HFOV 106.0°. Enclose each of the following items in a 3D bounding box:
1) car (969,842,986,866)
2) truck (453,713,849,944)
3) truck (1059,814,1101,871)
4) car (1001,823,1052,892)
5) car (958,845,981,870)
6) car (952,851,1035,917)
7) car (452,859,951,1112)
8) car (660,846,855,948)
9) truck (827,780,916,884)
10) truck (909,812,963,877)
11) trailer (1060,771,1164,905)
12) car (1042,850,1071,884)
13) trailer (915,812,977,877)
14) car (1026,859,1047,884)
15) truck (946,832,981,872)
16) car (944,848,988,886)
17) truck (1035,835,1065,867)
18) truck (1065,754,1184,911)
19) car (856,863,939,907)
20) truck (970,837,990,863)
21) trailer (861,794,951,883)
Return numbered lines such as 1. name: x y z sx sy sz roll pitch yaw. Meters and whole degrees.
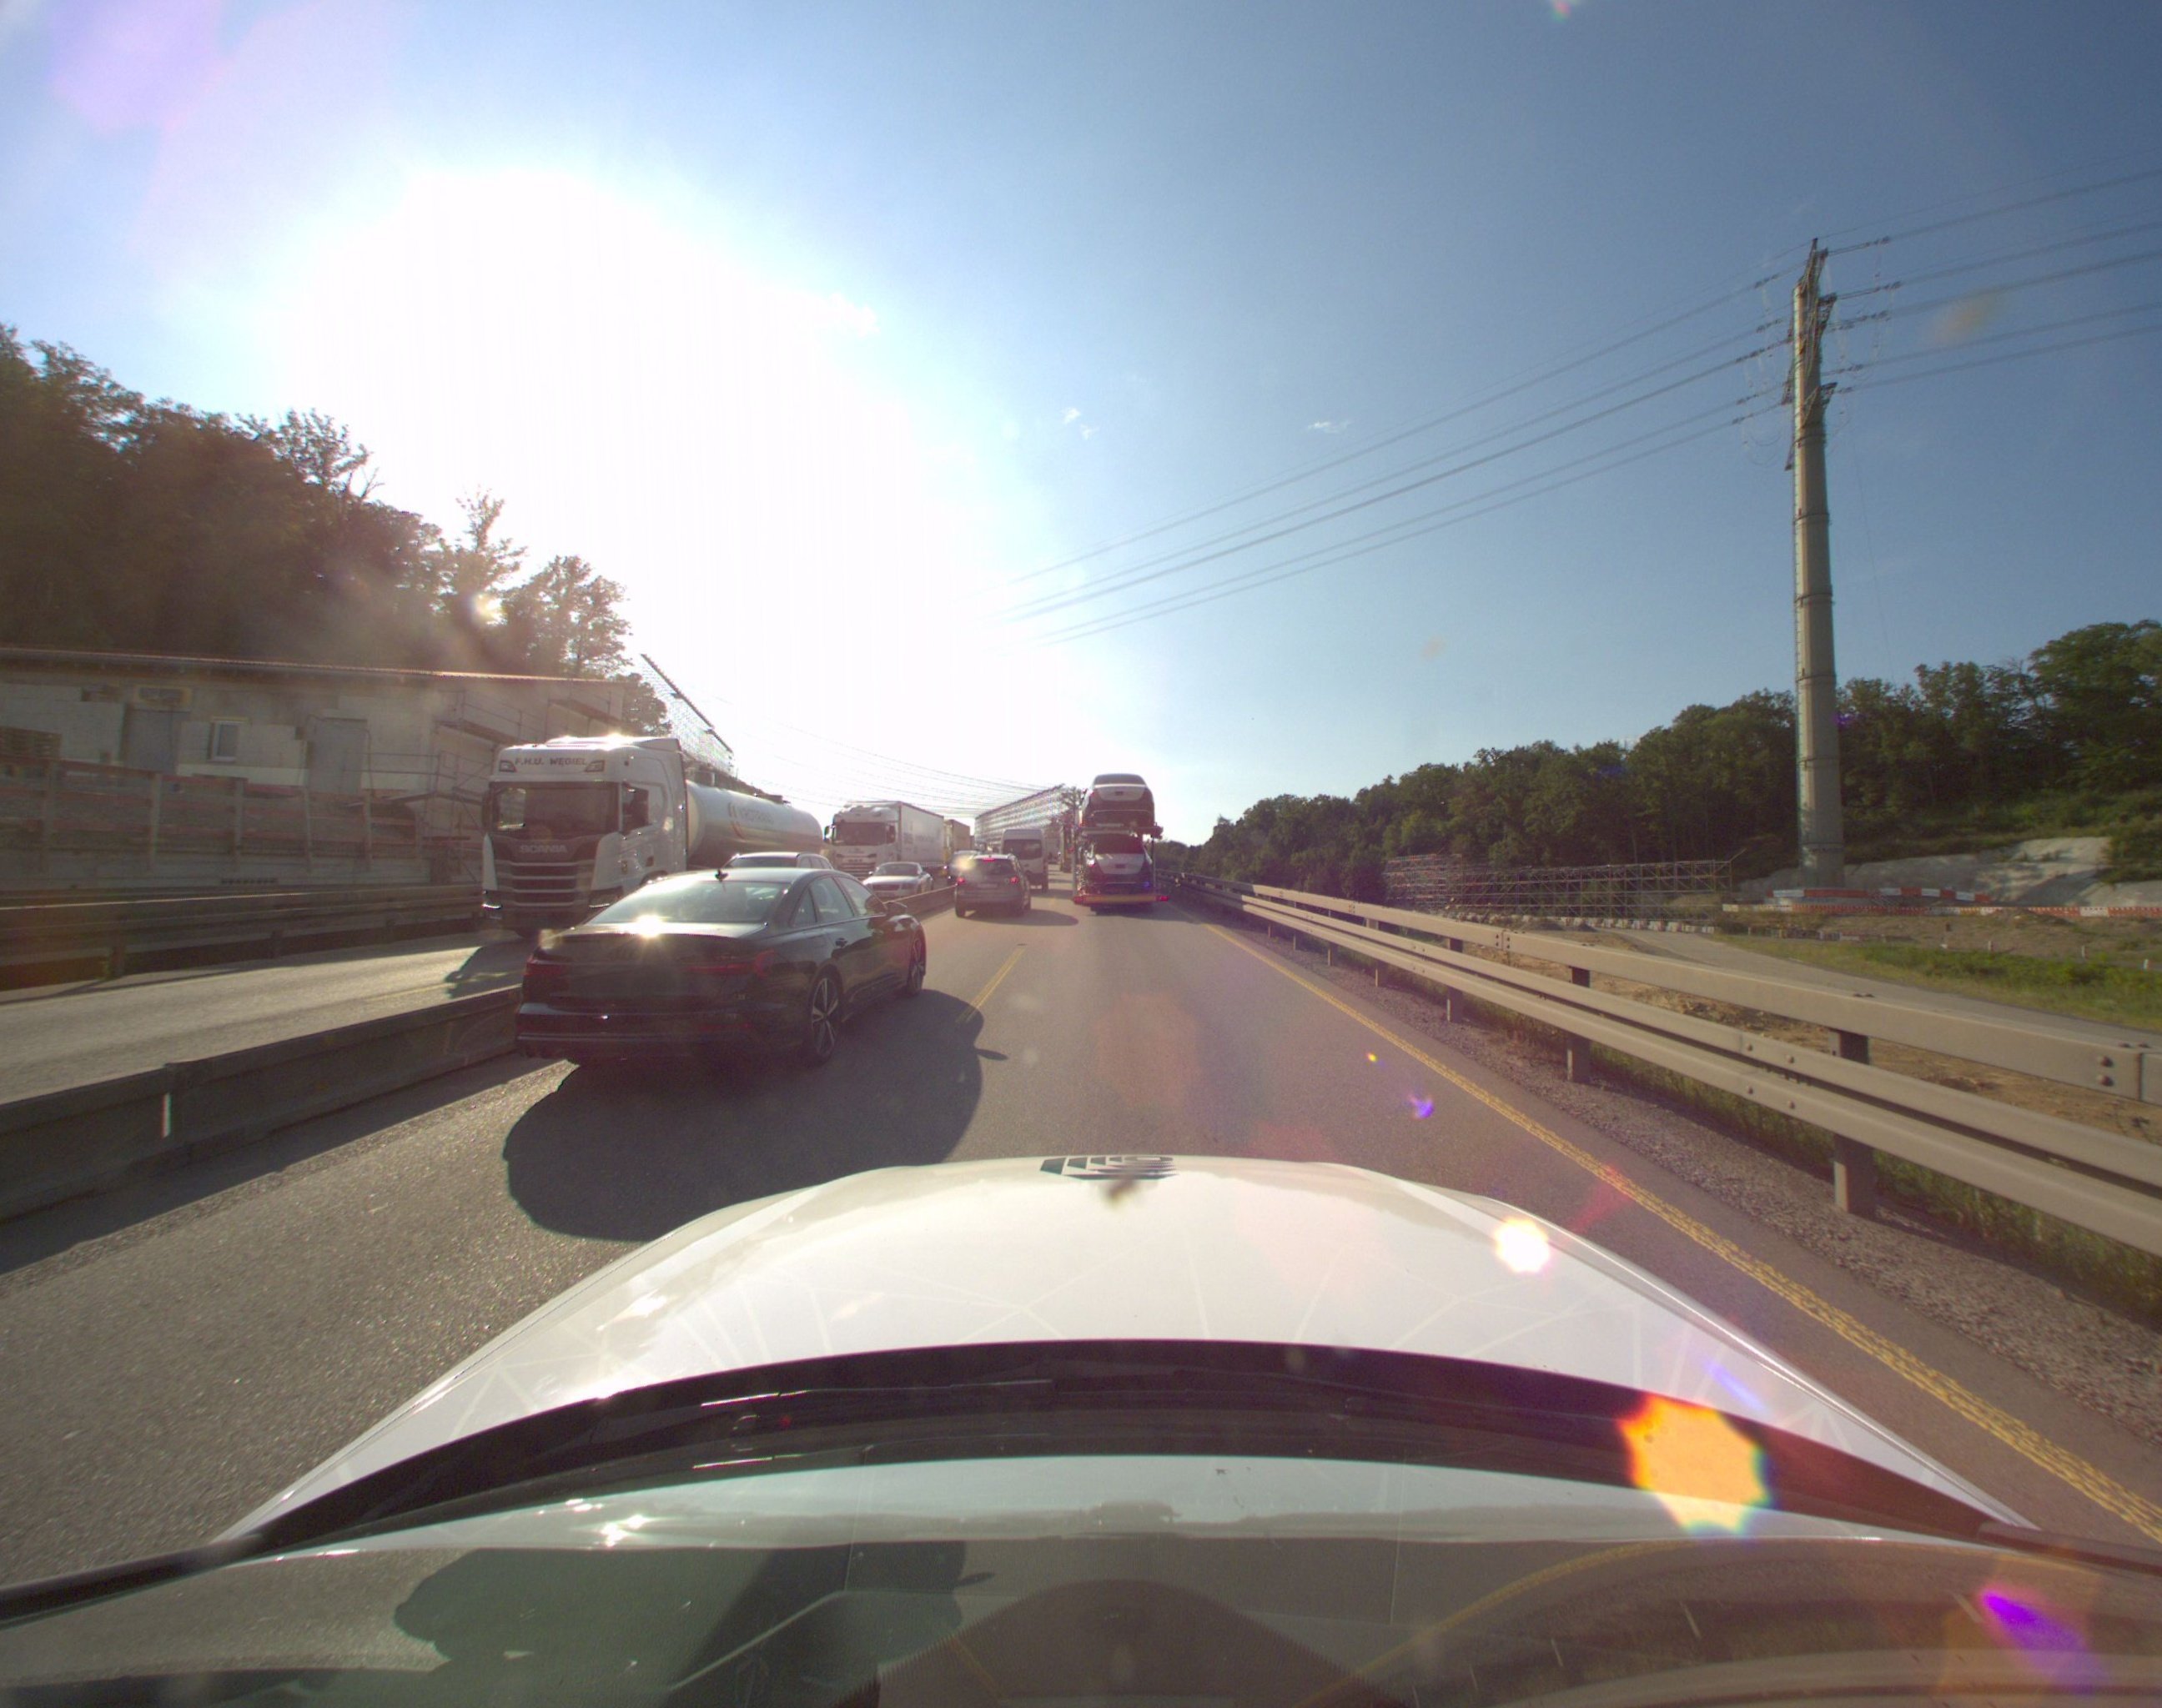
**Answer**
1. car: -12.786 -0.004 100.485 1.665 2.765 4.953 -1 0 -3
2. truck: -9.354 -0.447 20.935 2.800 3.970 13.891 0 0 0
3. truck: -0.222 -0.988 72.720 3.220 4.677 11.683 -1 0 -3
4. car: -2.252 0.196 34.328 1.974 2.684 4.142 -1 -1 -3
5. car: -12.692 0.438 92.826 2.123 2.750 5.498 -1 -1 -3
6. car: -2.270 0.778 22.065 1.695 1.587 4.147 -1 -1 1
7. car: -2.734 0.840 7.544 1.932 1.480 5.225 -2 -1 3
8. car: -6.039 0.763 15.889 1.839 1.648 4.561 -2 -1 1
9. truck: -9.385 -0.800 37.097 2.436 4.272 6.318 -1 -2 -1
10. truck: -9.962 -0.567 56.431 2.886 4.272 5.765 -1 -1 -3
11. trailer: 0.735 -0.301 32.146 2.868 3.994 15.263 -1 -1 -2
12. car: -1.529 0.793 50.388 1.665 1.985 3.813 -1 -1 -4
13. trailer: -10.232 -0.499 63.320 2.886 4.394 14.364 -1 -1 -2
14. car: -3.761 1.471 69.095 1.665 1.985 3.813 -1 -1 -3
15. truck: -11.128 -0.131 77.531 2.352 3.531 7.691 -1 -1 -2
16. car: -6.190 0.654 44.340 1.828 1.917 4.861 -1 0 -2
17. truck: -4.817 -0.493 125.356 3.644 4.677 11.667 -1 0 -7
18. truck: 1.069 -0.501 23.864 2.863 3.980 5.765 -1 -1 -3
19. car: -5.828 0.961 26.315 1.705 1.253 4.050 -2 -1 0
20. truck: -16.151 -0.684 130.821 2.635 3.995 9.018 -1 0 -3
21. trailer: -9.447 -0.531 45.481 2.446 4.266 12.139 -1 -2 -1
